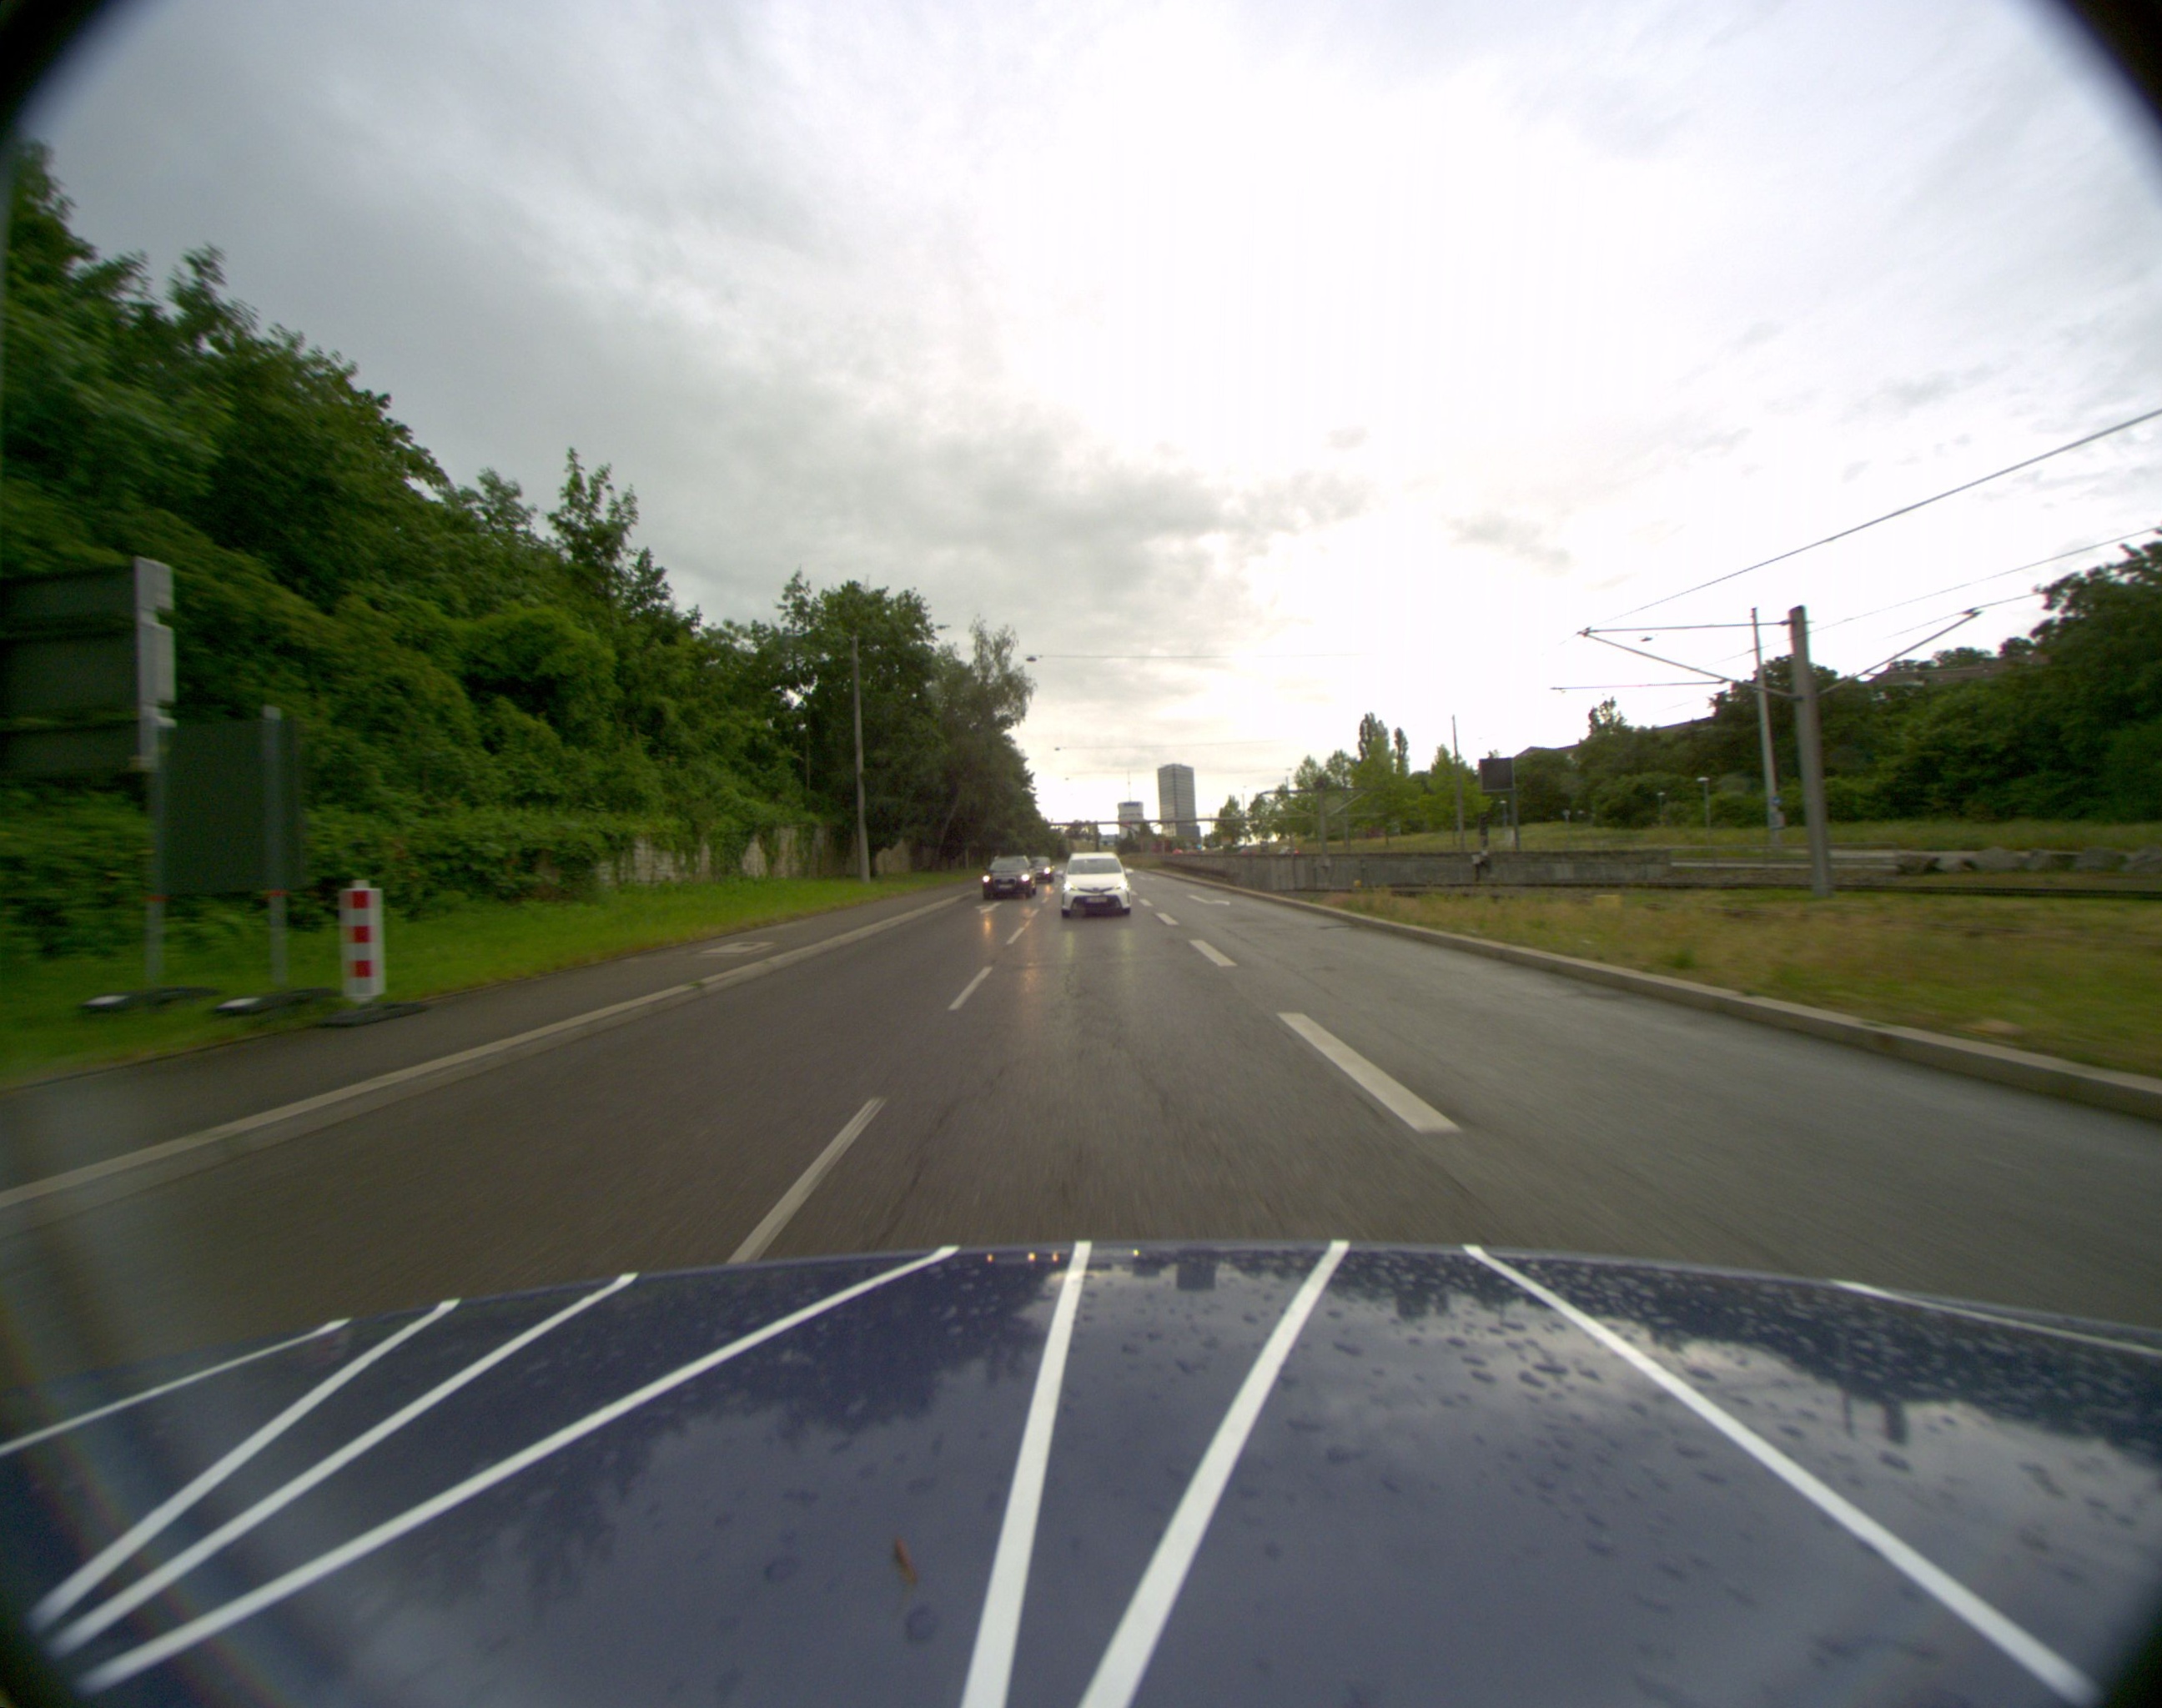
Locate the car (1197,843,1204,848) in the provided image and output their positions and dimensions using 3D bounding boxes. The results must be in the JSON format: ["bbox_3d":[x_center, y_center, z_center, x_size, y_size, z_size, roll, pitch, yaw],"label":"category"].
[{"bbox_3d":[40.040,-2.926,255.547,1.660,1.519,4.436,-3,0,1],"label":"car"}]

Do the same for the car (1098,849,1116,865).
[{"bbox_3d":[3.115,0.375,91.330,1.998,1.761,4.000,-2,0,1],"label":"car"}]

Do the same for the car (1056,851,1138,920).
[{"bbox_3d":[0.529,0.758,20.706,1.924,1.604,4.376,-2,0,4],"label":"car"}]

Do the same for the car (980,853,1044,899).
[{"bbox_3d":[-2.616,0.800,29.673,1.927,1.591,4.279,-1,1,2],"label":"car"}]

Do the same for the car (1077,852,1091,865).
[{"bbox_3d":[0.465,0.676,114.424,1.998,1.761,4.000,-2,0,1],"label":"car"}]

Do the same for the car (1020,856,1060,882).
[{"bbox_3d":[-2.362,0.850,44.732,1.845,1.377,4.001,-2,0,4],"label":"car"}]

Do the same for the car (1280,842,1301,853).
[{"bbox_3d":[25.894,-0.781,93.903,1.559,1.284,3.559,-3,0,1],"label":"car"}]

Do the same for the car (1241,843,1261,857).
[{"bbox_3d":[26.665,-0.669,119.067,1.896,1.959,4.034,-5,0,-2],"label":"car"}]

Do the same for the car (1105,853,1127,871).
[{"bbox_3d":[3.534,0.833,76.046,1.998,1.761,4.002,0,-1,4],"label":"car"}]
